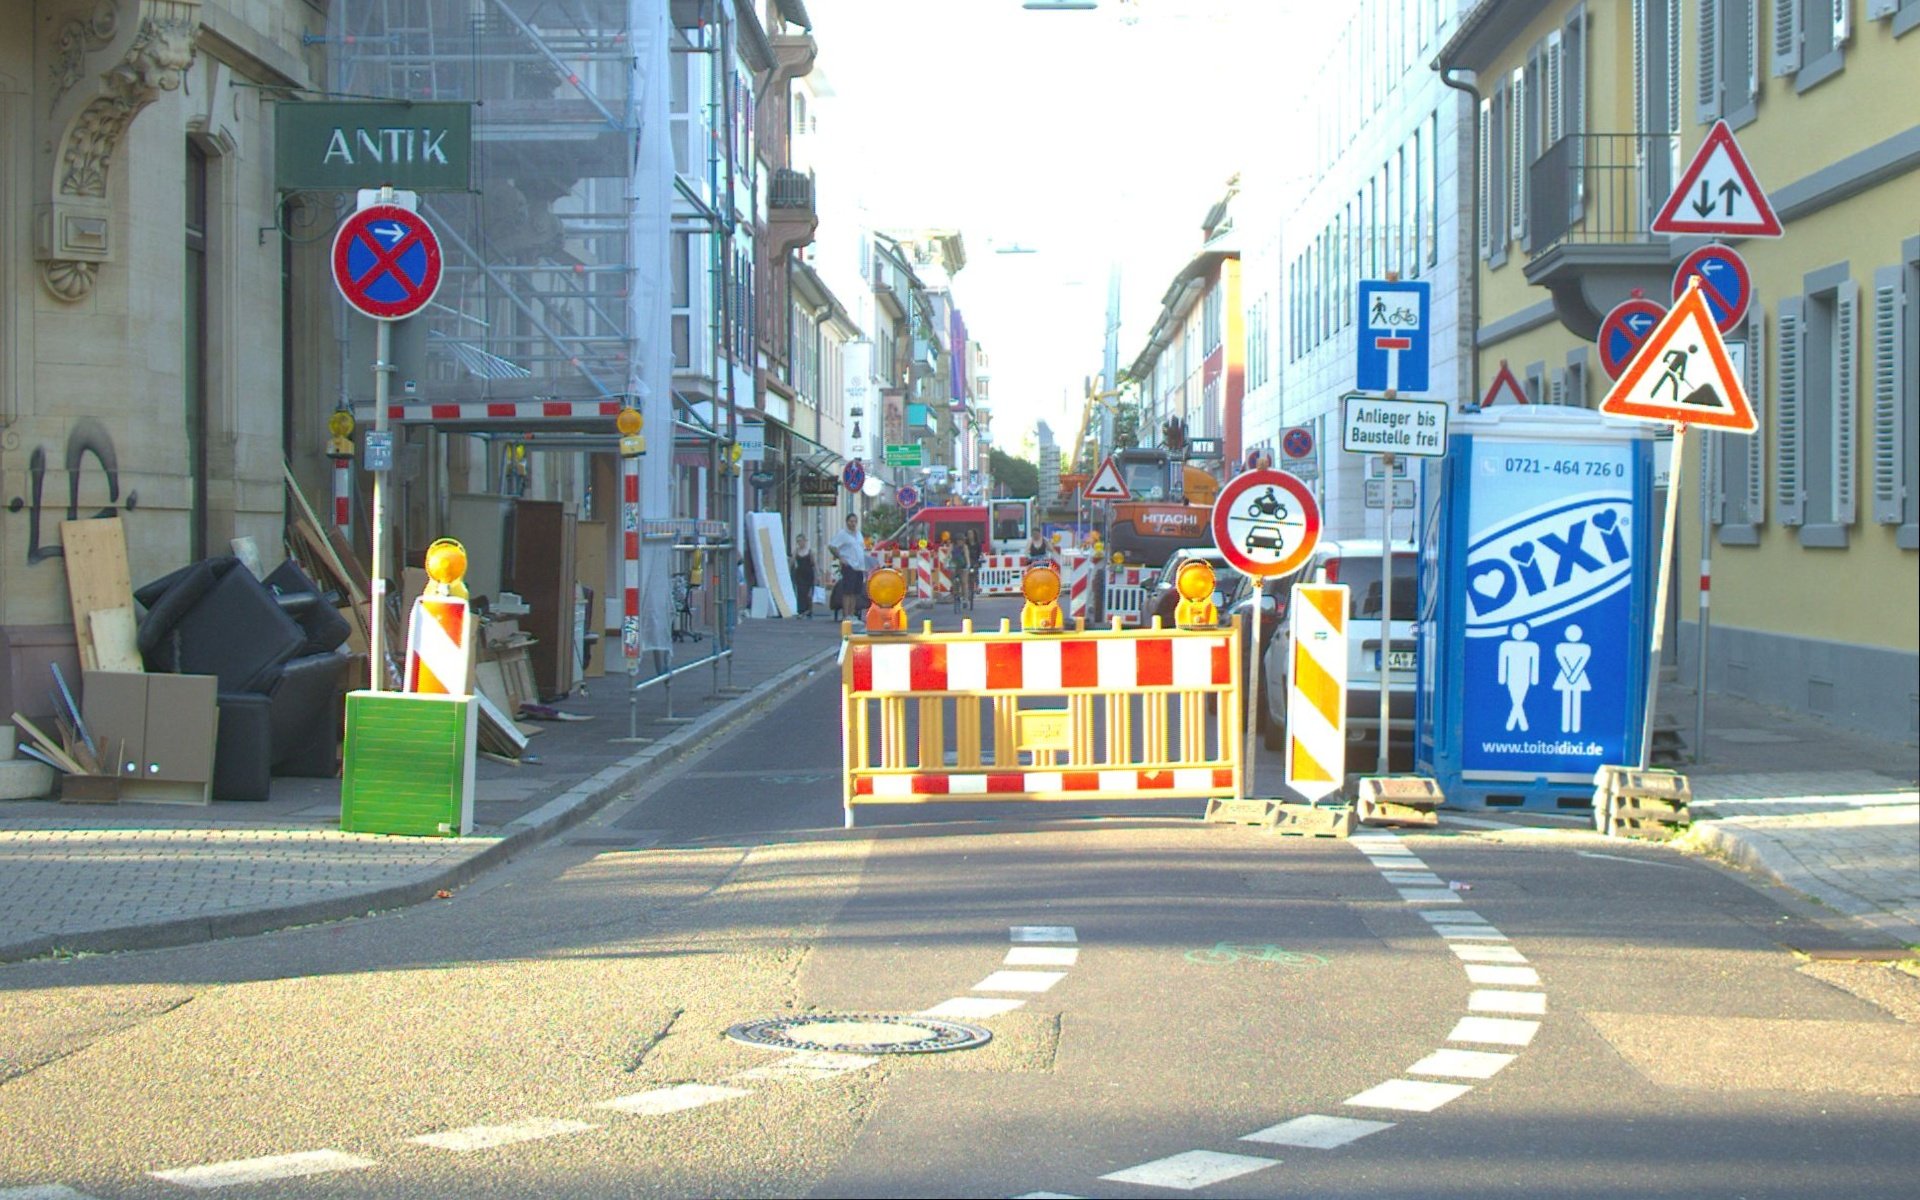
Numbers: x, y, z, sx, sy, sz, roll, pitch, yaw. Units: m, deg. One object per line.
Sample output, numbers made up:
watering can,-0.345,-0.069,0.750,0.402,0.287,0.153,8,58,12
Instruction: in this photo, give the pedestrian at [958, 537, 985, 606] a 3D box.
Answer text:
pedestrian,0.250,-0.609,73.339,0.504,1.456,0.512,0,1,8

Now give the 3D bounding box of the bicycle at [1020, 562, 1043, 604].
bicycle,1.557,-0.383,74.953,0.504,0.881,1.477,0,1,1

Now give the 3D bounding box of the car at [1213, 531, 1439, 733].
car,2.928,0.206,28.113,1.540,1.515,3.979,0,1,2

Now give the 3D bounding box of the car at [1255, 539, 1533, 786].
car,2.873,0.367,23.294,1.540,1.515,3.221,1,1,2

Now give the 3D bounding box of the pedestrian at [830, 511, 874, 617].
pedestrian,-1.799,-0.599,57.206,0.504,1.758,0.512,-1,2,-39

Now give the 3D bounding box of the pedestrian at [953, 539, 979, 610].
pedestrian,0.118,-0.525,70.395,0.504,1.456,0.512,0,1,2

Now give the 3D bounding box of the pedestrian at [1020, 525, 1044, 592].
pedestrian,1.561,-0.900,74.882,0.504,1.456,0.512,0,1,3

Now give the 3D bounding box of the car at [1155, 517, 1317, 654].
car,3.159,-0.204,39.832,1.717,1.515,3.221,0,1,2

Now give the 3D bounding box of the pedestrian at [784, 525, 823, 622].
pedestrian,-2.810,-0.480,61.874,0.676,1.727,0.700,0,0,-2

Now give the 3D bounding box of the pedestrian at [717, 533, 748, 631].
pedestrian,-3.661,-0.292,55.282,0.343,1.561,0.420,1,0,23
